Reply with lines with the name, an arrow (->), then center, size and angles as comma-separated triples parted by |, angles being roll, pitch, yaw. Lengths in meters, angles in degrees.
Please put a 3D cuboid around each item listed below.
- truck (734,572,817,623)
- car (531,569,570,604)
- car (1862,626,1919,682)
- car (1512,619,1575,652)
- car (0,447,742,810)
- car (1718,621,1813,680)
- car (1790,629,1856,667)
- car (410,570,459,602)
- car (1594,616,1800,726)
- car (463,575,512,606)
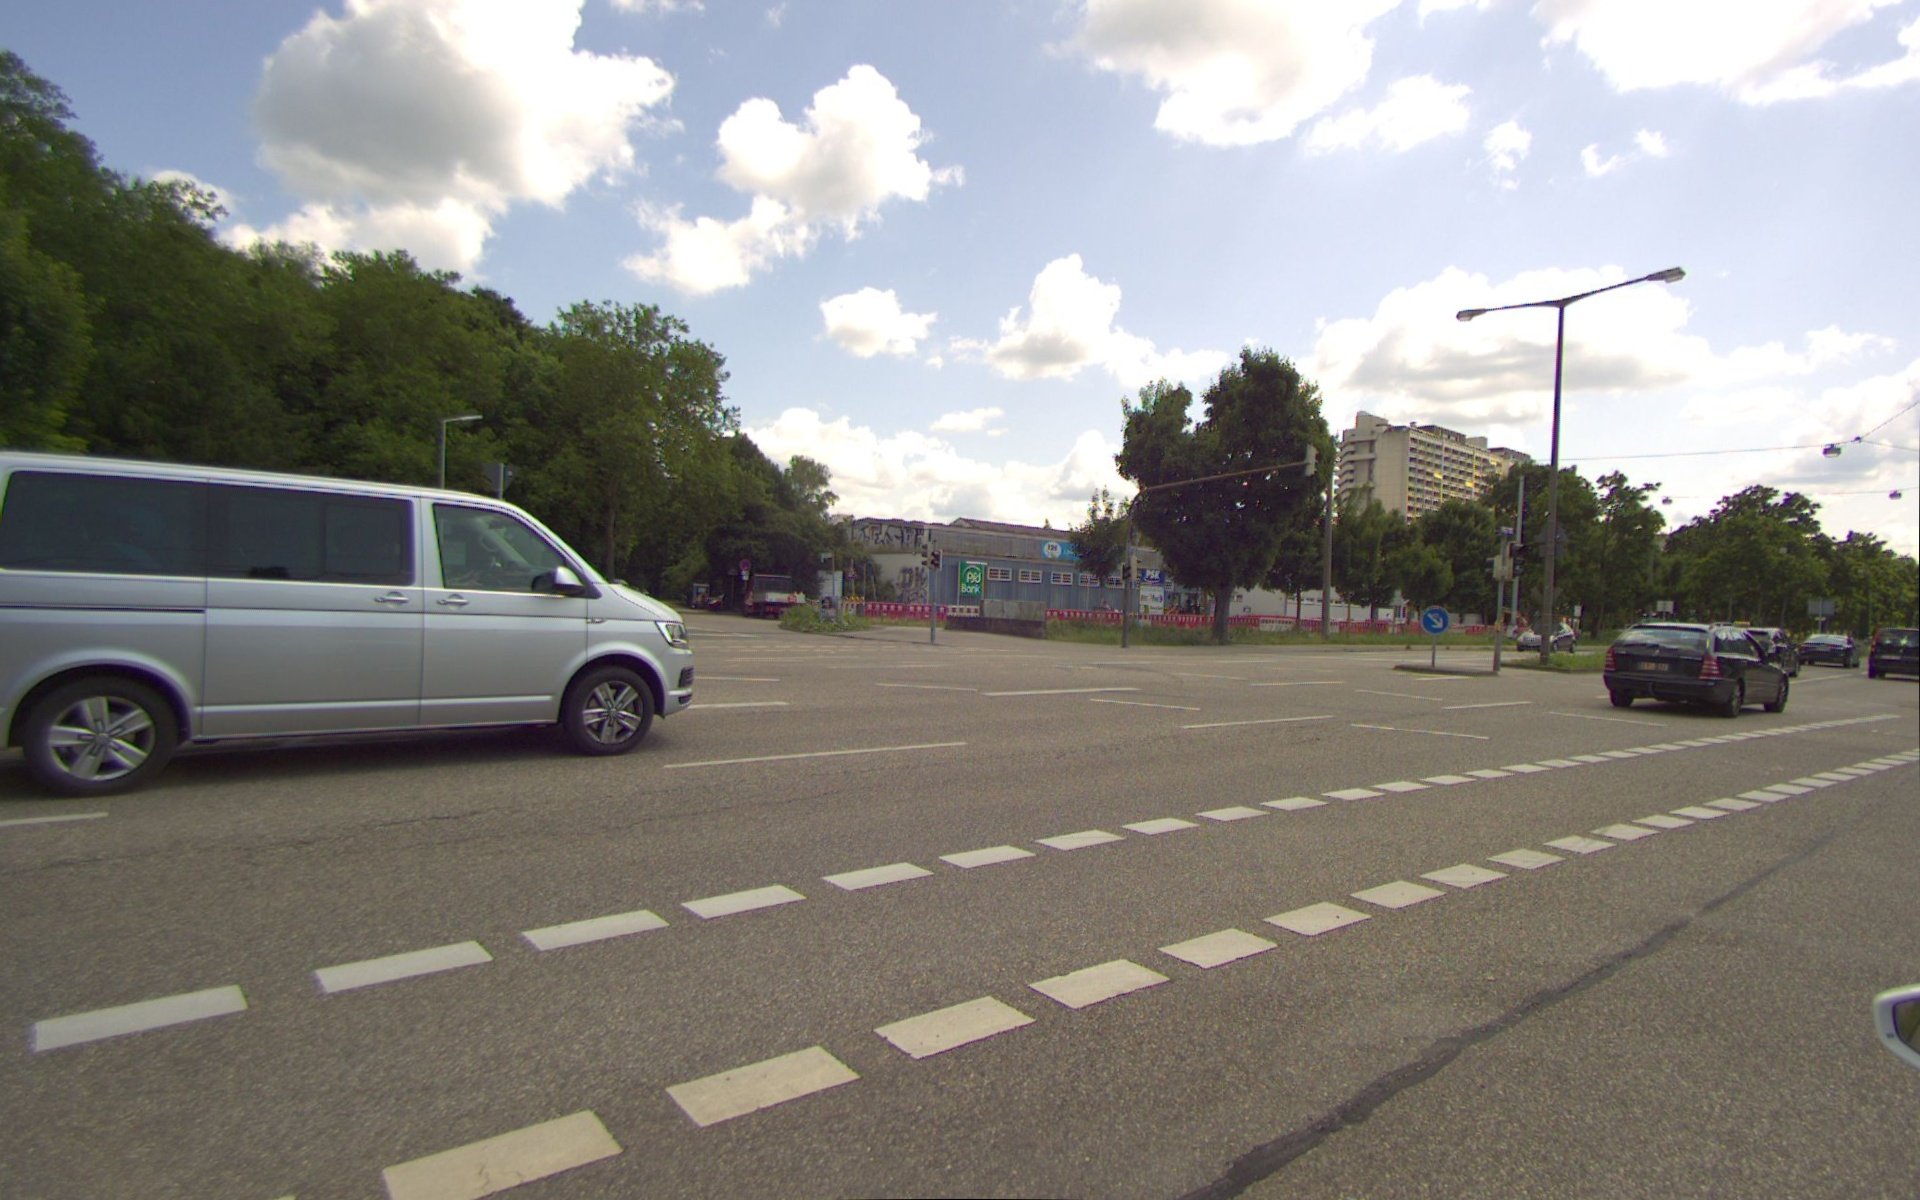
truck -> -10.189, -0.161, 54.835 | 2.996, 2.472, 6.948 | 2, 0, -22
car -> -23.400, -0.785, 57.406 | 1.910, 1.817, 3.599 | 3, 1, -23
car -> 33.994, 1.937, 36.212 | 3.881, 1.801, 1.743 | 3, 1, -43
car -> 30.411, 1.862, 52.330 | 3.745, 1.615, 1.769 | 2, 0, -43
car -> -4.355, 0.195, 7.205 | 5.190, 1.944, 1.798 | 2, 0, -40
car -> 25.903, 1.598, 32.236 | 4.311, 1.690, 1.768 | 3, 1, -44
car -> 39.653, 2.206, 46.125 | 3.972, 1.524, 1.846 | 3, 1, -43
car -> -28.409, -0.754, 54.229 | 1.606, 1.528, 3.577 | 3, 1, -39
car -> 12.280, 1.104, 16.634 | 4.398, 1.485, 1.739 | 2, 2, -41
car -> -26.307, -0.526, 55.890 | 1.606, 1.528, 3.577 | 3, 1, -39
